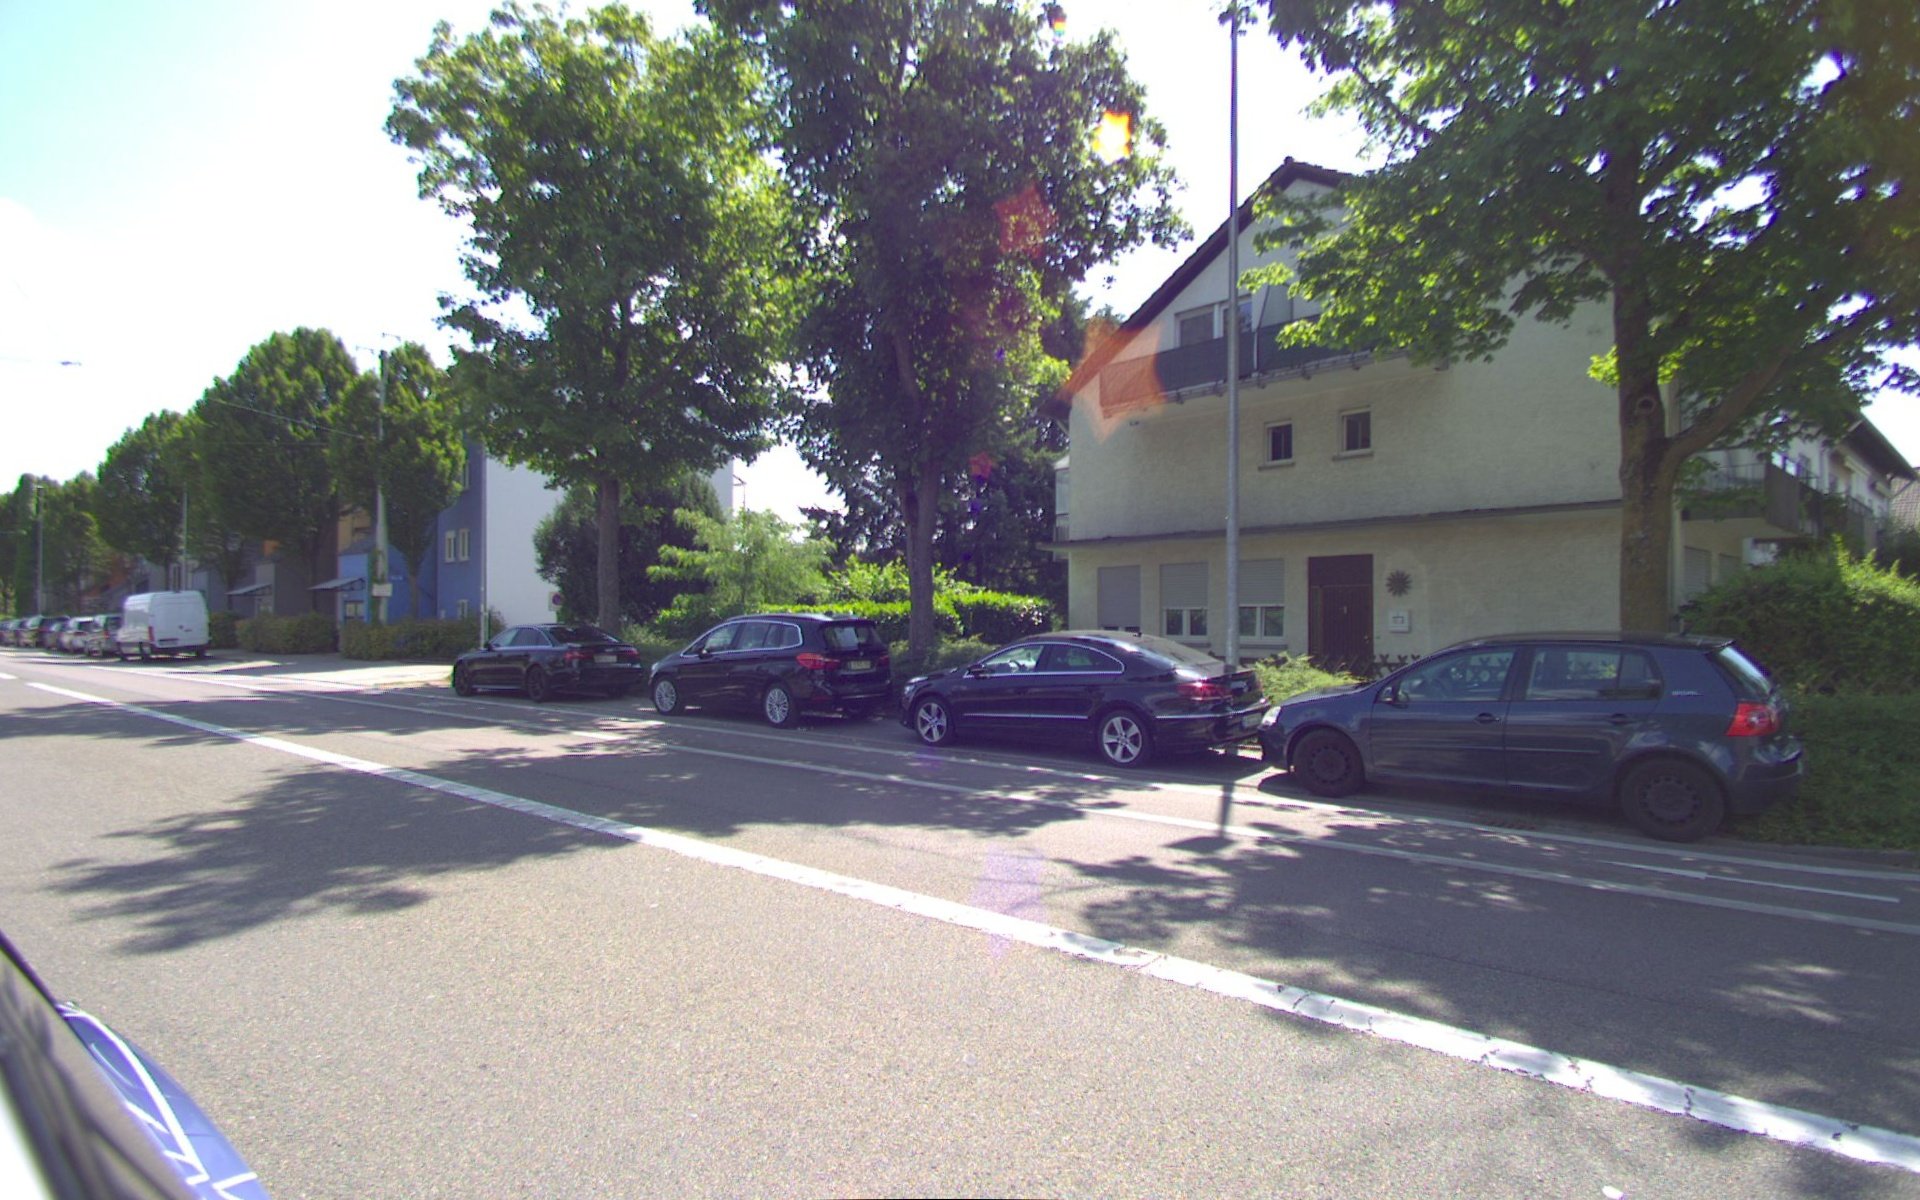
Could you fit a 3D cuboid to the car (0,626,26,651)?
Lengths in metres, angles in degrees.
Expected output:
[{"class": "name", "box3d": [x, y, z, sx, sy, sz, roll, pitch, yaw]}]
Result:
[{"class": "car", "box3d": [-59.757, 2.381, 62.788, 4.954, 1.457, 1.726, -1, 0, 36]}]

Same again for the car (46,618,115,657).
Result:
[{"class": "car", "box3d": [-42.607, 1.789, 48.982, 4.899, 1.765, 1.699, -1, -2, 39]}]

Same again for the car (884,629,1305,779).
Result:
[{"class": "car", "box3d": [1.418, 1.067, 11.930, 4.691, 1.383, 1.757, -1, 0, 39]}]

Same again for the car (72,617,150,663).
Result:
[{"class": "car", "box3d": [-38.369, 1.773, 45.682, 5.358, 1.909, 1.788, -1, 0, 40]}]

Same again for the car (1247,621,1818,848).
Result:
[{"class": "car", "box3d": [4.795, 0.956, 8.823, 4.044, 1.492, 1.757, -1, 0, 40]}]

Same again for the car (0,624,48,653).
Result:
[{"class": "car", "box3d": [-54.970, 2.228, 59.182, 4.278, 1.630, 1.640, 0, -2, 37]}]

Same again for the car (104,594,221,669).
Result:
[{"class": "car", "box3d": [-32.004, 1.233, 40.511, 7.031, 2.671, 2.300, -2, 2, 41]}]

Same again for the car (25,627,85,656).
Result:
[{"class": "car", "box3d": [-46.873, 2.119, 52.394, 4.082, 1.482, 1.583, -1, -2, 38]}]

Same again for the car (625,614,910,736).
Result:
[{"class": "car", "box3d": [-3.084, 1.052, 15.663, 4.632, 1.616, 1.757, -1, -1, 39]}]

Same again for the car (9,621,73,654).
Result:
[{"class": "car", "box3d": [-50.709, 2.063, 55.797, 4.880, 1.729, 1.734, -2, -3, 37]}]

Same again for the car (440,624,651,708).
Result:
[{"class": "car", "box3d": [-8.254, 1.222, 19.960, 4.799, 1.467, 1.757, -1, -2, 39]}]
